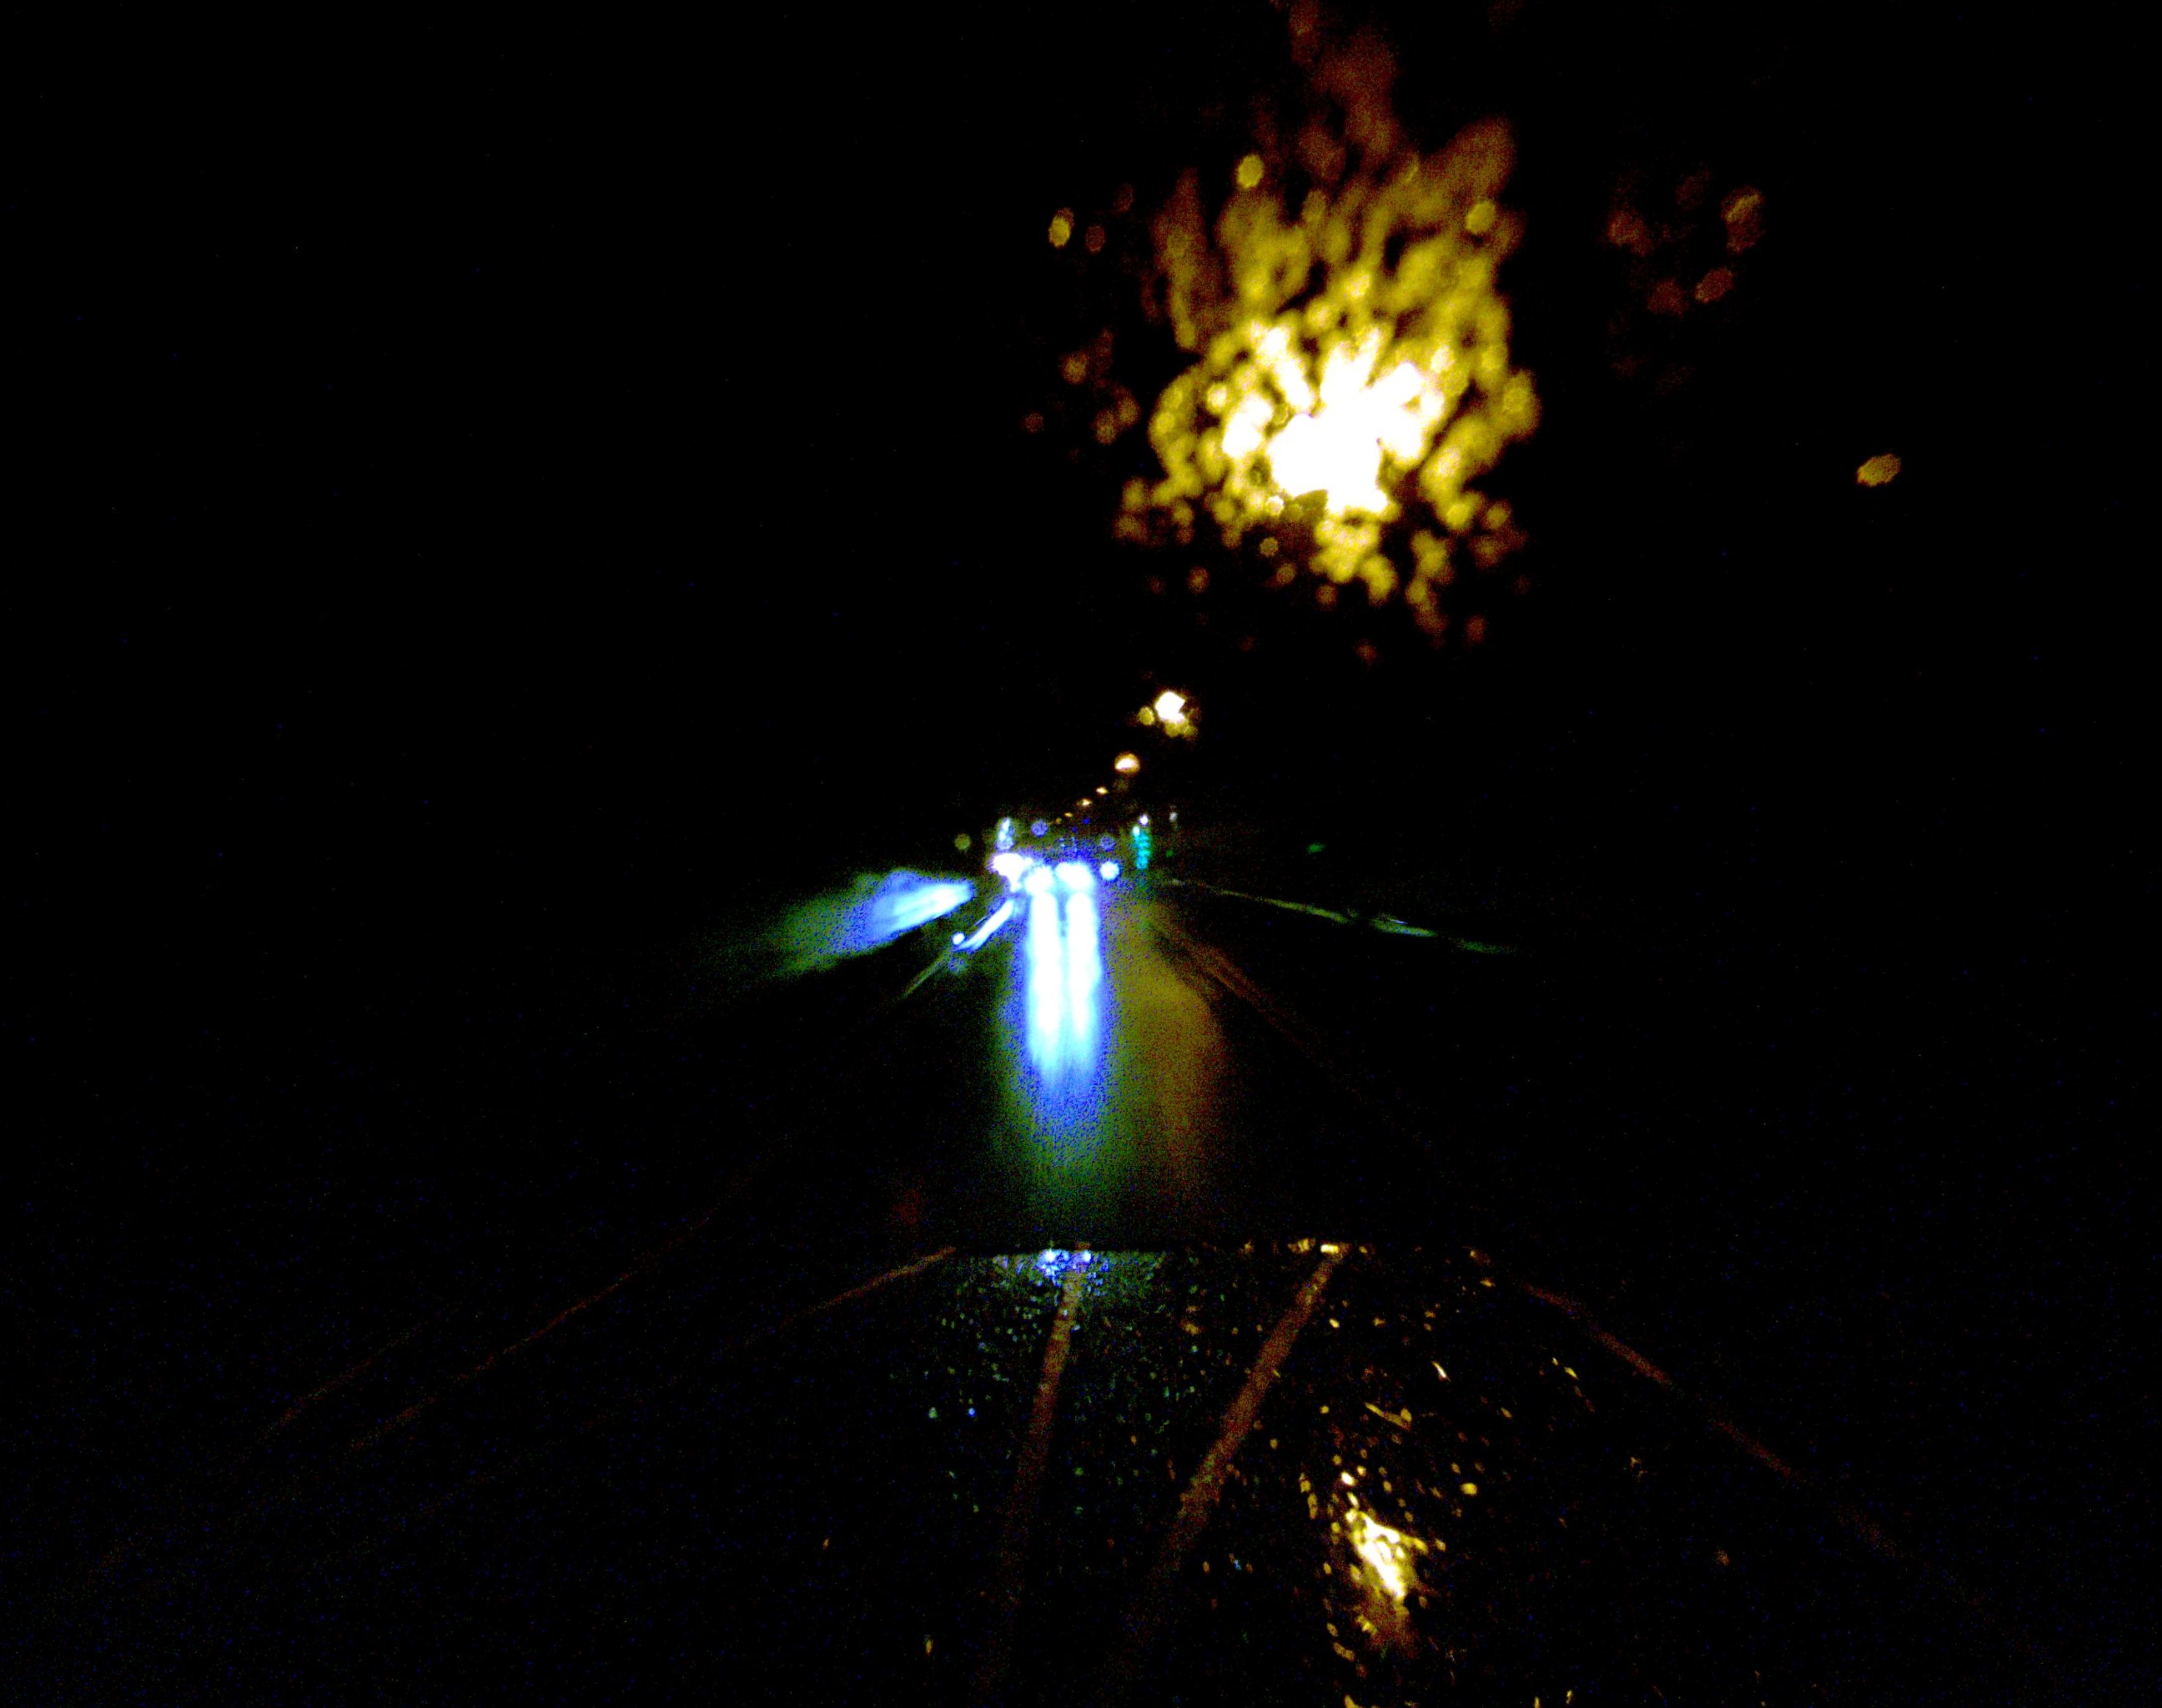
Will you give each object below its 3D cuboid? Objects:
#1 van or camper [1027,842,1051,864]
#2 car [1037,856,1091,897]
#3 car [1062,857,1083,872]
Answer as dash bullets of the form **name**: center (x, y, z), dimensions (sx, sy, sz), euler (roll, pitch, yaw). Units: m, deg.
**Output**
- **van or camper**: center (-5.814, -0.159, 103.669), dimensions (2.422, 2.866, 6.672), euler (-2, 0, -10)
- **car**: center (-0.790, 0.892, 32.450), dimensions (1.999, 1.546, 3.998), euler (-2, 1, -5)
- **car**: center (-0.883, 1.044, 76.287), dimensions (1.839, 1.375, 4.645), euler (-2, 0, -2)
